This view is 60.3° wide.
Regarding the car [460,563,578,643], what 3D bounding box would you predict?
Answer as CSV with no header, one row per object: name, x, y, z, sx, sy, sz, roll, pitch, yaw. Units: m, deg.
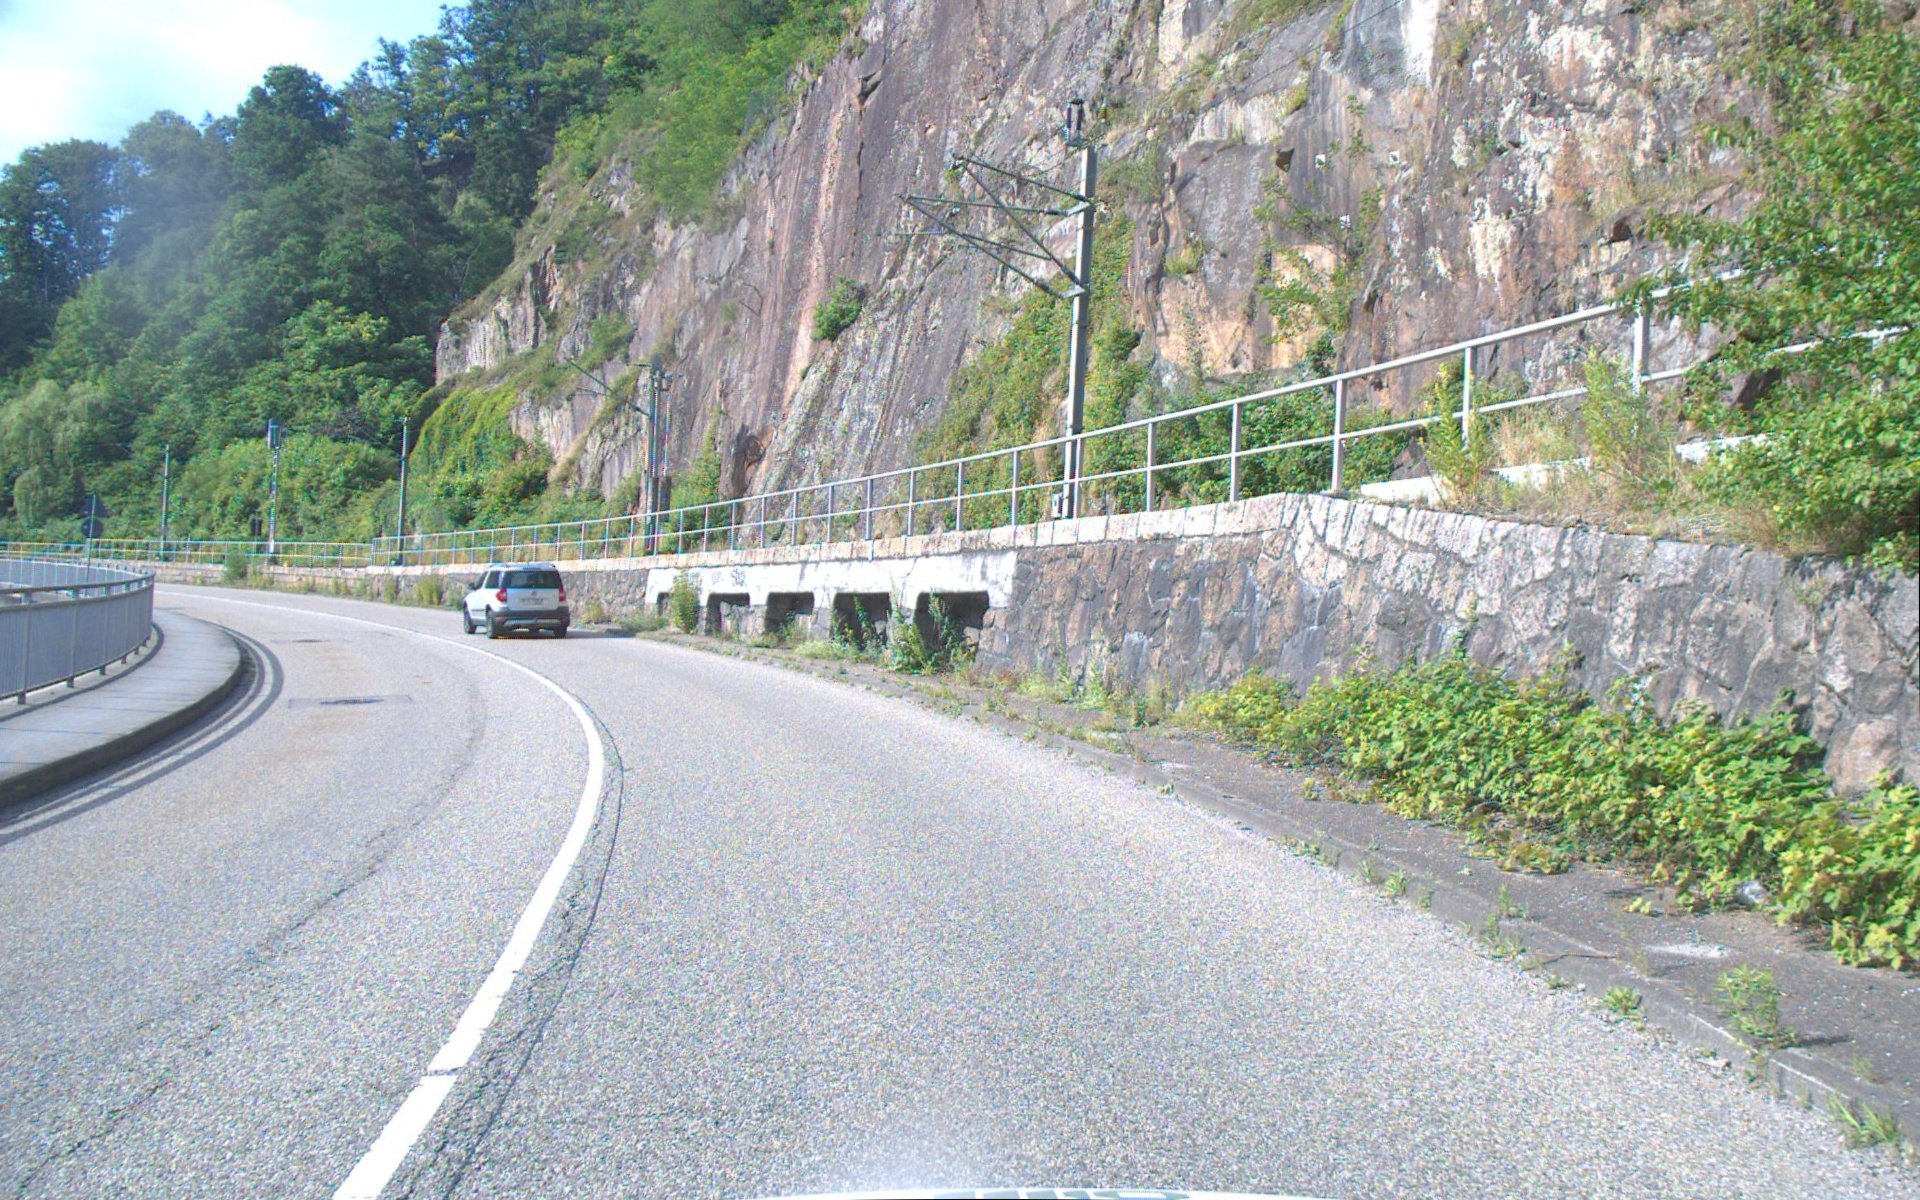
car,-10.279,0.021,38.368,1.851,1.684,3.965,0,2,-27
